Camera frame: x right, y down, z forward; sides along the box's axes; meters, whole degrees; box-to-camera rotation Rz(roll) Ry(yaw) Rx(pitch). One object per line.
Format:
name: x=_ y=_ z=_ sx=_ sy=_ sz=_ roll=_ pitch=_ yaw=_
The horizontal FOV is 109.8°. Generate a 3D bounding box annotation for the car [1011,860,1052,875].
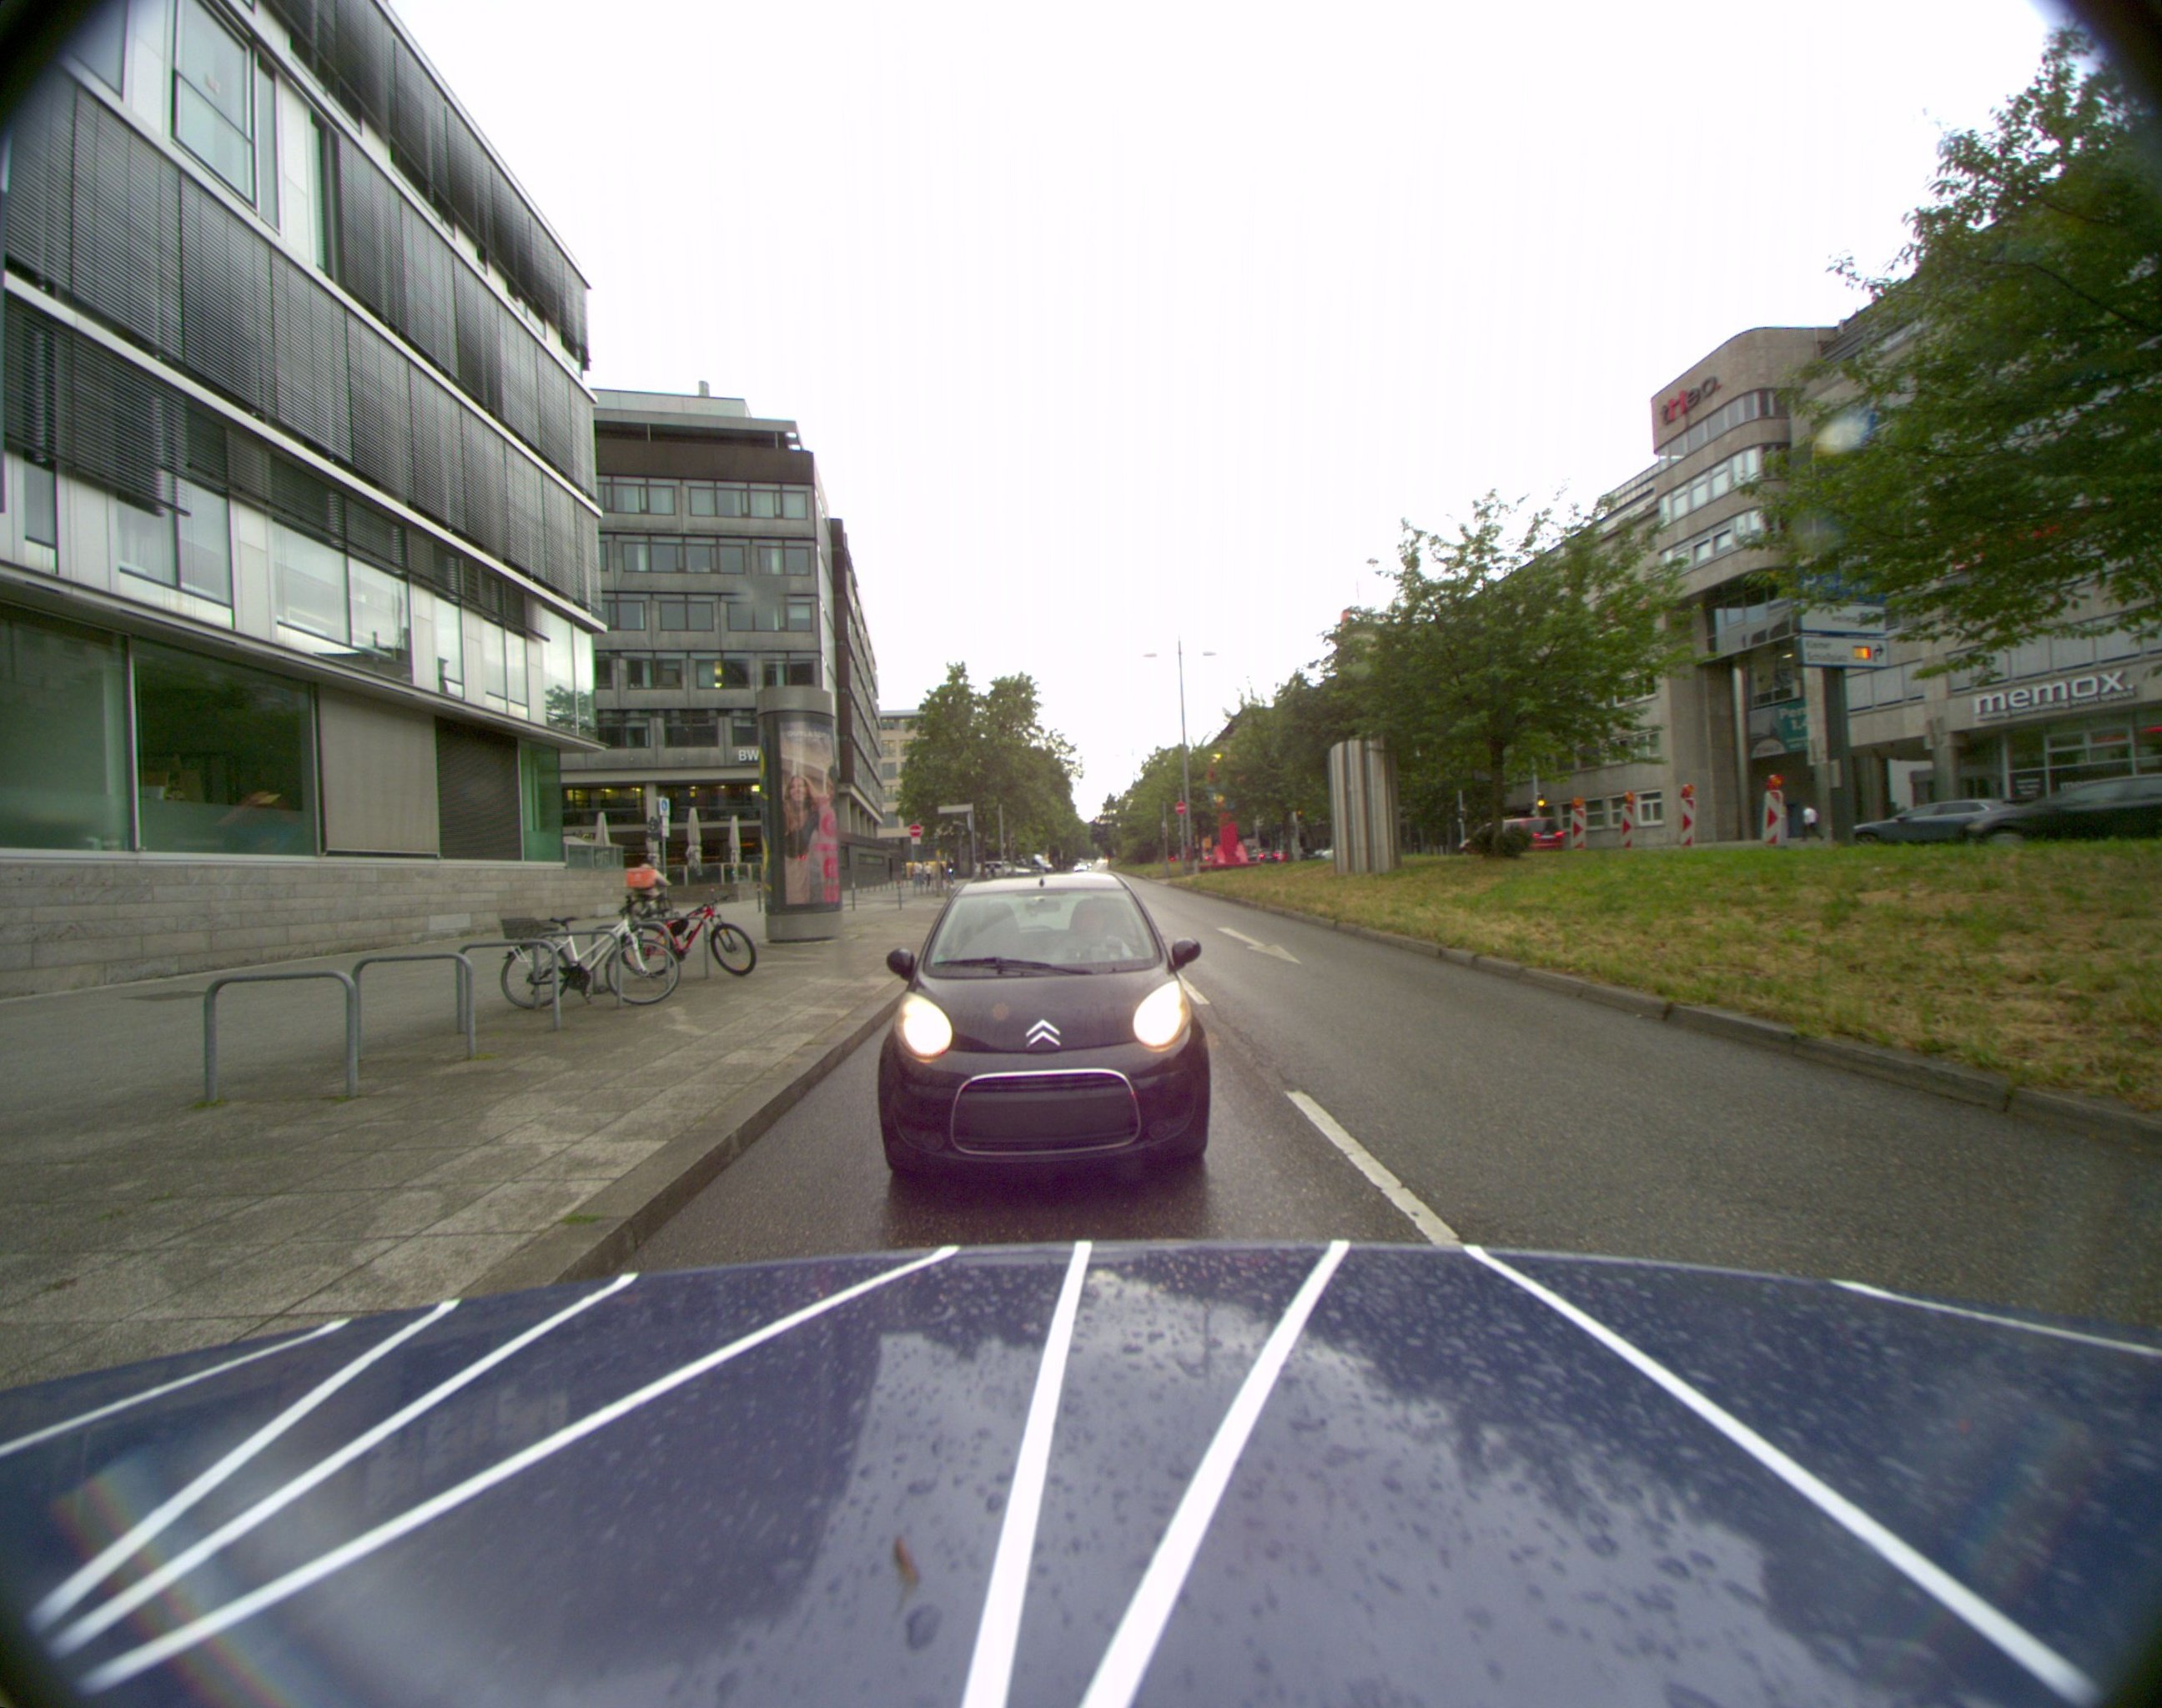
car: x=-5.383 y=1.441 z=82.709 sx=4.052 sy=1.415 sz=1.711 roll=-4 pitch=0 yaw=29

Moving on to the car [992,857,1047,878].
car: x=-5.371 y=1.194 z=66.380 sx=4.381 sy=1.528 sz=1.919 roll=-4 pitch=0 yaw=27

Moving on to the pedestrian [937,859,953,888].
pedestrian: x=-8.011 y=1.136 z=44.774 sx=0.722 sy=1.675 sz=0.528 roll=-3 pitch=0 yaw=-22

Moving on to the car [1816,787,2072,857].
car: x=24.737 y=-0.814 z=22.132 sx=1.867 sy=1.715 sz=4.791 roll=-2 pitch=0 yaw=-3

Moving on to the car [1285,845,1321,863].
car: x=21.006 y=-0.005 z=72.104 sx=1.867 sy=1.612 sz=4.467 roll=-2 pitch=0 yaw=-3

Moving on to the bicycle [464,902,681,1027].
bicycle: x=-5.297 y=1.140 z=7.969 sx=1.840 sy=1.190 sz=0.660 roll=-1 pitch=0 yaw=4

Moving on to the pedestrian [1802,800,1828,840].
pedestrian: x=34.148 y=-1.579 z=35.337 sx=0.722 sy=1.777 sz=0.528 roll=-3 pitch=0 yaw=-20

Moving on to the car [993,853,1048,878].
car: x=-5.535 y=1.054 z=69.261 sx=4.507 sy=1.981 sz=1.925 roll=-4 pitch=0 yaw=29

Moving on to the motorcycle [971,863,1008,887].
motorcycle: x=-5.544 y=1.266 z=46.061 sx=2.087 sy=1.349 sz=0.677 roll=-3 pitch=0 yaw=7

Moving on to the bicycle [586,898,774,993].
bicycle: x=-5.136 y=1.163 z=9.821 sx=1.988 sy=1.097 sz=0.808 roll=-2 pitch=0 yaw=4

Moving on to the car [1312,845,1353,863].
car: x=21.694 y=0.039 z=65.743 sx=1.867 sy=1.421 sz=4.565 roll=-2 pitch=0 yaw=-3

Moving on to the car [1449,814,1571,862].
car: x=16.951 y=-0.576 z=30.308 sx=1.730 sy=1.717 sz=4.579 roll=-3 pitch=0 yaw=-8

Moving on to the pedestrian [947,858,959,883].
pedestrian: x=-9.842 y=1.269 z=58.394 sx=0.721 sy=1.873 sz=0.656 roll=-3 pitch=0 yaw=-6

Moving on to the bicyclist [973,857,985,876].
bicyclist: x=-10.024 y=1.223 z=74.654 sx=0.812 sy=1.739 sz=1.079 roll=-6 pitch=2 yaw=-3

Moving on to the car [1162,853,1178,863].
car: x=14.173 y=0.628 z=121.210 sx=1.866 sy=1.421 sz=4.132 roll=-2 pitch=0 yaw=-1

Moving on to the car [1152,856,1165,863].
car: x=15.032 y=1.079 z=147.349 sx=1.866 sy=1.421 sz=4.566 roll=-2 pitch=0 yaw=-1

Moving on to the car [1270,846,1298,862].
car: x=20.570 y=0.046 z=77.097 sx=1.690 sy=1.493 sz=3.692 roll=-2 pitch=0 yaw=-3

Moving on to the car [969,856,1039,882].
car: x=-5.641 y=1.099 z=55.614 sx=4.792 sy=1.640 sz=1.920 roll=-4 pitch=0 yaw=30

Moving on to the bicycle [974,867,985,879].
bicycle: x=-9.974 y=1.880 z=74.801 sx=0.777 sy=1.132 sz=1.978 roll=-6 pitch=0 yaw=-3

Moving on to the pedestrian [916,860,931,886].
pedestrian: x=-11.518 y=1.400 z=55.521 sx=0.803 sy=1.857 sz=0.898 roll=-3 pitch=0 yaw=0

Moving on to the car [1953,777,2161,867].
car: x=18.827 y=-0.595 z=13.513 sx=1.810 sy=1.477 sz=3.998 roll=-5 pitch=0 yaw=-6

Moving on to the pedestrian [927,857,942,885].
pedestrian: x=-10.716 y=1.256 z=55.625 sx=0.852 sy=2.027 sz=0.753 roll=-3 pitch=0 yaw=-6

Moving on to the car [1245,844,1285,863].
car: x=15.345 y=-0.026 z=63.635 sx=1.873 sy=1.466 sz=3.997 roll=-3 pitch=0 yaw=-8

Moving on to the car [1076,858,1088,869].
car: x=0.142 y=1.516 z=121.951 sx=1.791 sy=1.736 sz=4.574 roll=-2 pitch=0 yaw=-3

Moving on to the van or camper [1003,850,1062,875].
van or camper: x=-5.519 y=1.008 z=86.374 sx=6.250 sy=2.432 sz=2.319 roll=-4 pitch=0 yaw=30

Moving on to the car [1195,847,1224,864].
car: x=14.149 y=0.189 z=83.660 sx=1.951 sy=1.690 sz=3.997 roll=-3 pitch=0 yaw=-8

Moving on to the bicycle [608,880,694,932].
bicycle: x=-10.586 y=1.260 z=18.811 sx=1.011 sy=1.107 sz=2.066 roll=-2 pitch=1 yaw=-4

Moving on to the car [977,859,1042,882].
car: x=-5.575 y=1.261 z=58.782 sx=4.711 sy=1.465 sz=1.920 roll=-4 pitch=0 yaw=32

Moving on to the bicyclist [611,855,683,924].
bicyclist: x=-10.628 y=0.845 z=18.645 sx=1.014 sy=1.573 sz=1.135 roll=-5 pitch=1 yaw=-5

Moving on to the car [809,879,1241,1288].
car: x=-0.264 y=0.967 z=4.923 sx=1.634 sy=1.408 sz=3.834 roll=-3 pitch=0 yaw=-2

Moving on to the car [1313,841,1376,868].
car: x=15.972 y=0.025 z=46.285 sx=1.825 sy=1.466 sz=4.190 roll=-3 pitch=0 yaw=-8
